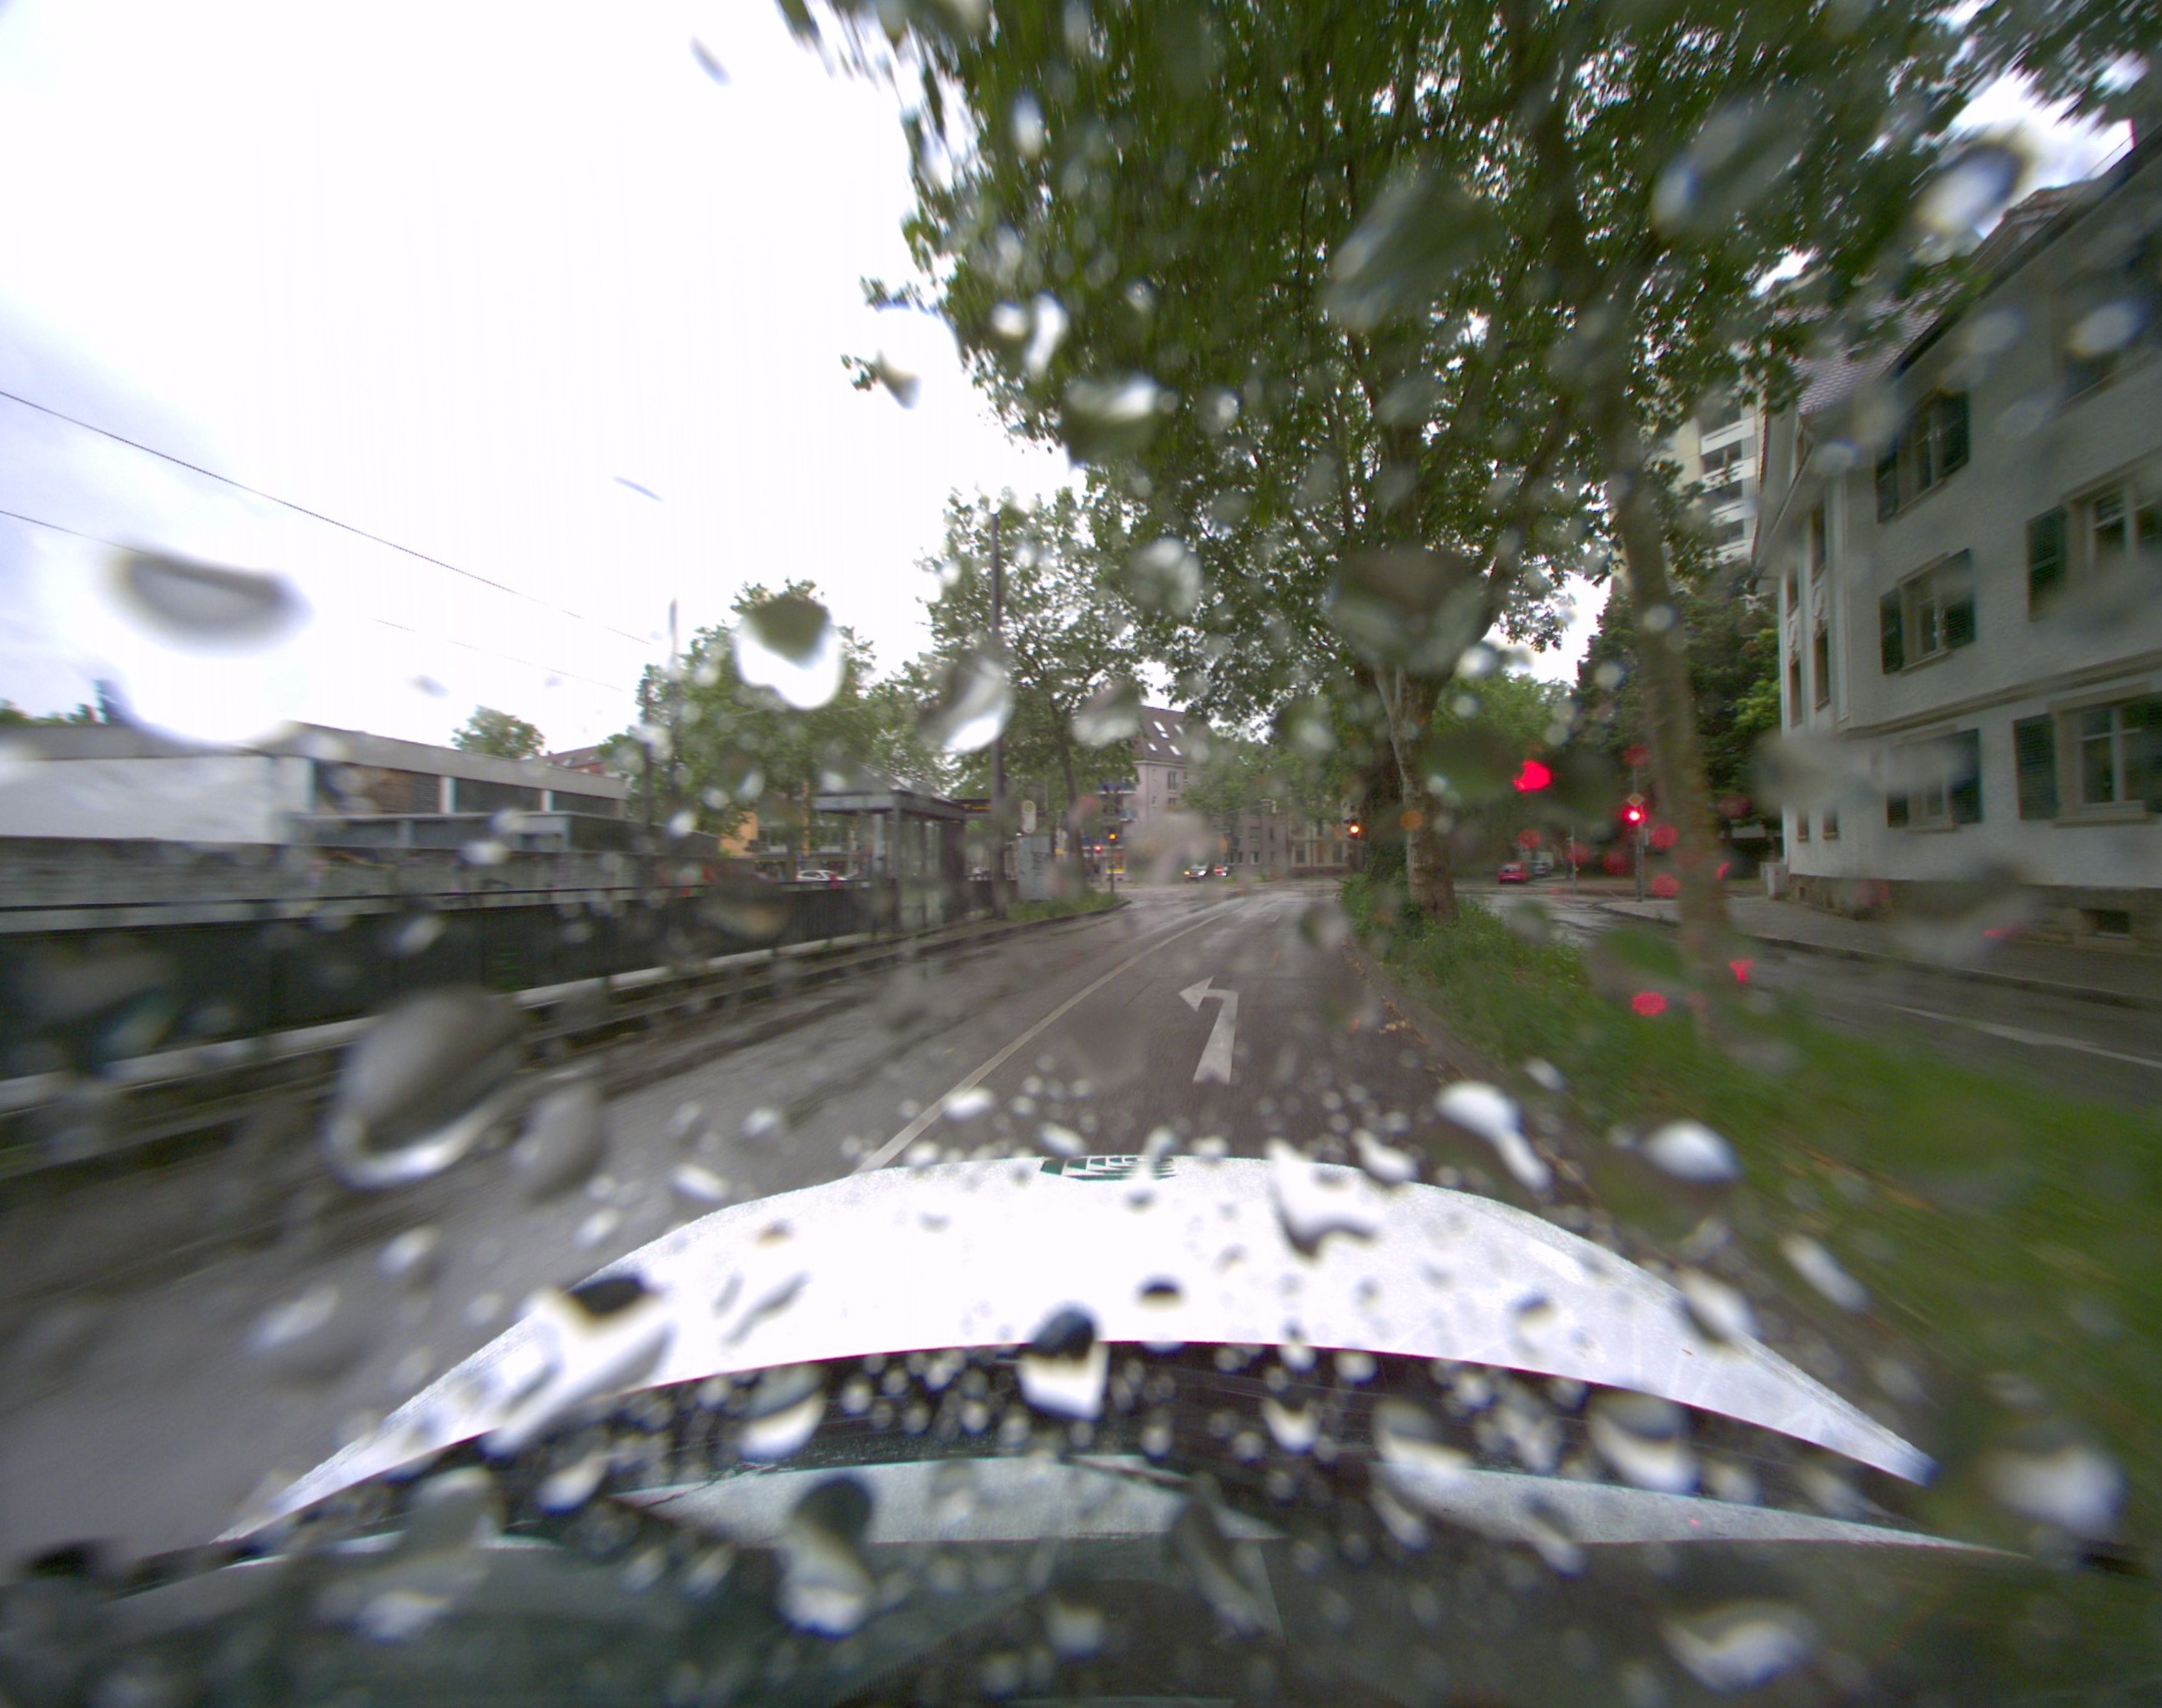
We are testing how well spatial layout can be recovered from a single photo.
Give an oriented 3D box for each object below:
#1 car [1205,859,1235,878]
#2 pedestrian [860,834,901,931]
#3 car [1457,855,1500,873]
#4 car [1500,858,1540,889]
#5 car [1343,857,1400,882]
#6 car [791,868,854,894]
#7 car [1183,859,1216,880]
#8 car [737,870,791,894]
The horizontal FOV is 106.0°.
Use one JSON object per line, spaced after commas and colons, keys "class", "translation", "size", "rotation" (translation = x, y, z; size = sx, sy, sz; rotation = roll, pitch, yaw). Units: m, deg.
{"class": "car", "translation": [12.222, 1.226, 71.540], "size": [1.709, 1.552, 3.579], "rotation": [-3, -1, 24]}
{"class": "pedestrian", "translation": [-3.736, 0.523, 15.137], "size": [0.584, 1.731, 0.563], "rotation": [-2, -1, -25]}
{"class": "car", "translation": [41.085, 1.038, 84.236], "size": [1.691, 1.618, 3.573], "rotation": [-1, -2, -44]}
{"class": "car", "translation": [30.522, 1.328, 56.626], "size": [1.974, 2.014, 4.026], "rotation": [-3, -1, 34]}
{"class": "car", "translation": [20.160, 1.081, 56.549], "size": [3.446, 1.523, 1.529], "rotation": [-3, -1, 26]}
{"class": "car", "translation": [-18.273, 1.912, 57.559], "size": [3.967, 1.651, 1.985], "rotation": [-3, -1, 30]}
{"class": "car", "translation": [9.634, 1.242, 65.970], "size": [1.709, 1.552, 3.579], "rotation": [-3, -1, 24]}
{"class": "car", "translation": [-23.641, 2.111, 60.744], "size": [3.745, 1.639, 1.735], "rotation": [-3, -1, 30]}
